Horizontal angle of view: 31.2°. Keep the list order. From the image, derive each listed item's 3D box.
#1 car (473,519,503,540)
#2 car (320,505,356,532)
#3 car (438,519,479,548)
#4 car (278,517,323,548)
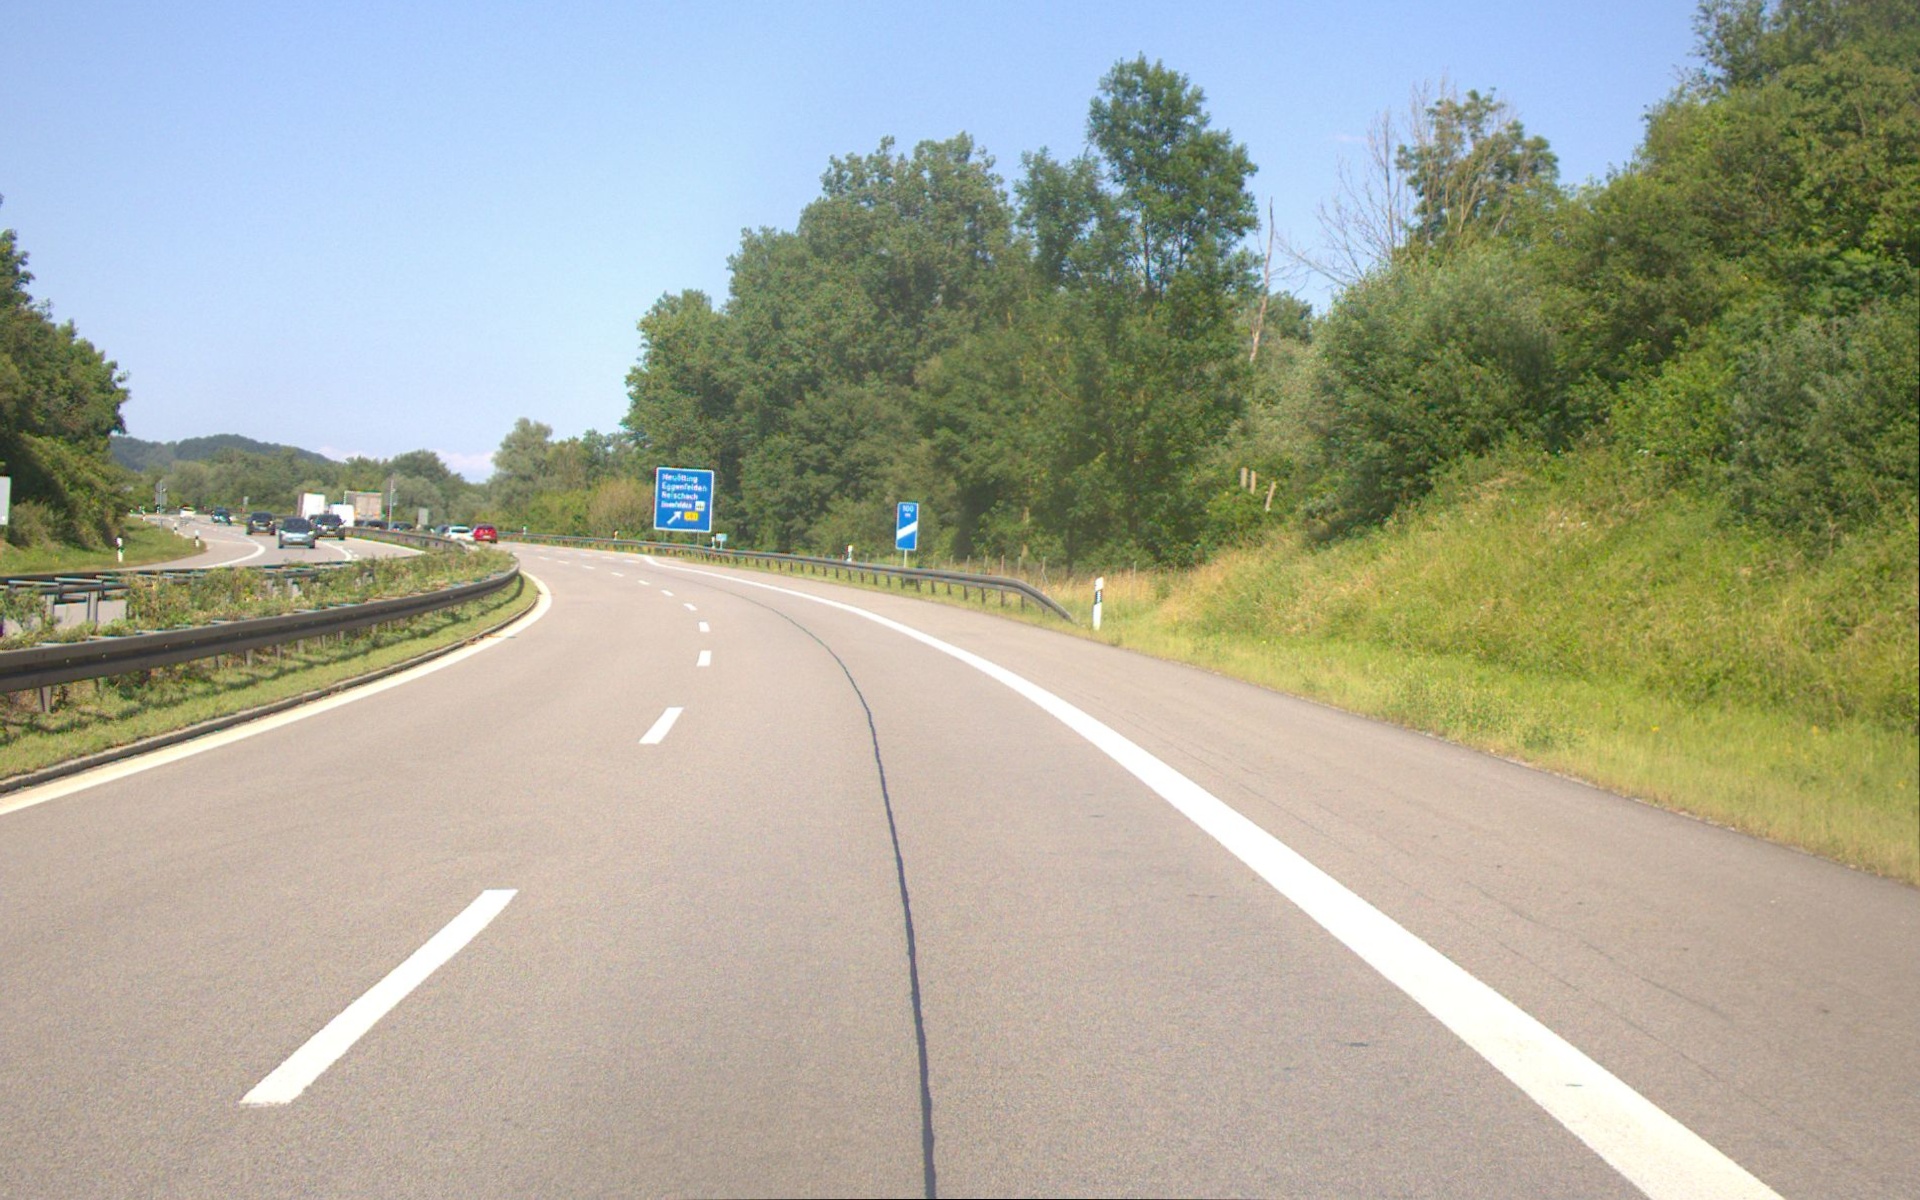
[{"bbox_3d":[-35.395,-5.285,257.813,1.783,1.426,4.001,6,-1,-12],"label":"car"},{"bbox_3d":[-39.955,-5.246,220.961,2.067,1.673,4.888,0,2,-8],"label":"car"},{"bbox_3d":[-30.962,-4.112,212.325,2.061,1.619,4.001,2,-1,-15],"label":"car"},{"bbox_3d":[-33.073,-3.384,172.510,1.819,1.475,4.686,1,1,-7],"label":"car"}]
